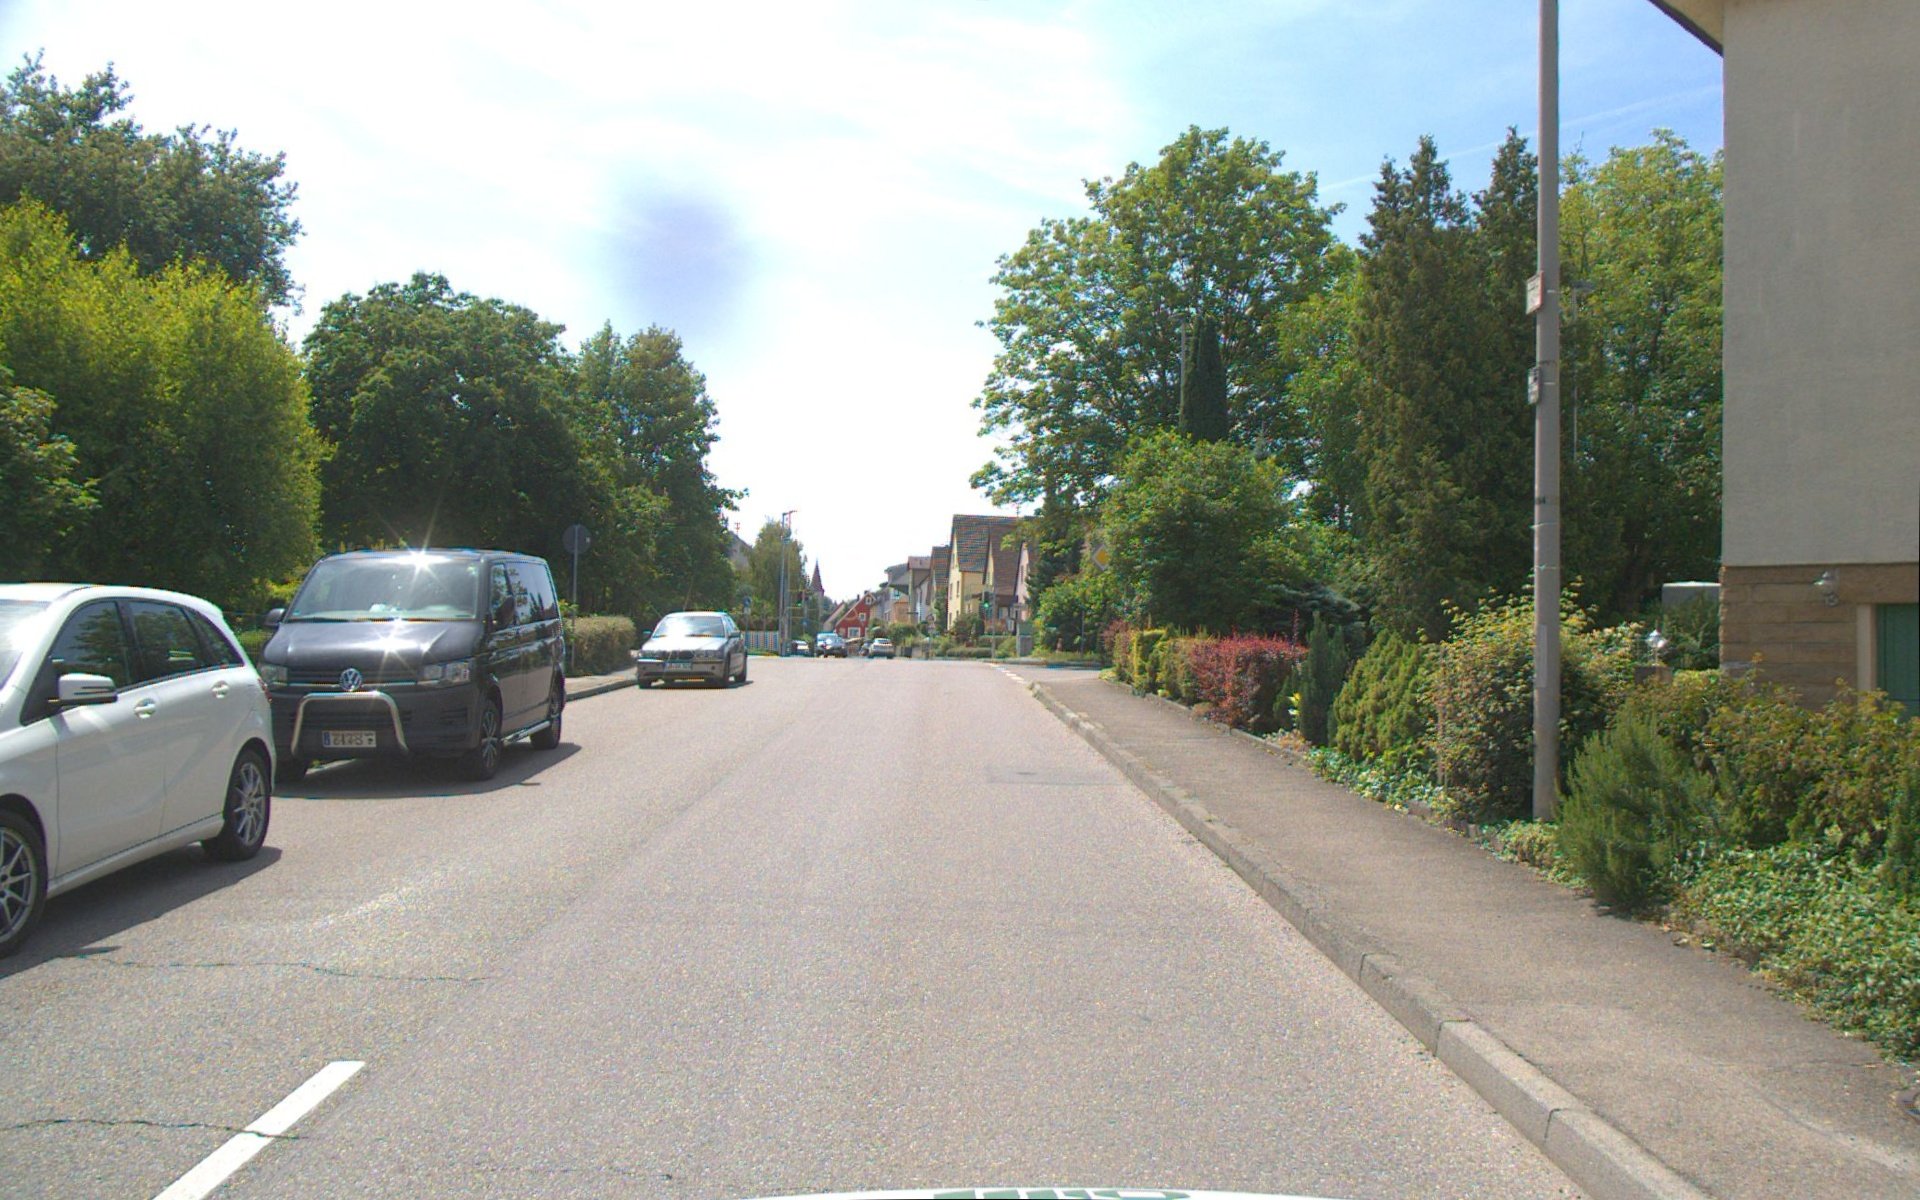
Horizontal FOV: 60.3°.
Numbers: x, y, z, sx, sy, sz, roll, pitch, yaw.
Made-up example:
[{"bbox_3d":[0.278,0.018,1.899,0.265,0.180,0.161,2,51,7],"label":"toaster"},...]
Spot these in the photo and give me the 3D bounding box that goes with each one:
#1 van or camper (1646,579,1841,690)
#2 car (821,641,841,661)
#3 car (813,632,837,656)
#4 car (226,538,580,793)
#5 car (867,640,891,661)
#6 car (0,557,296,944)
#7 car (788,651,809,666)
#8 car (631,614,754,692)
[{"bbox_3d":[16.768,0.764,35.467,1.803,2.178,3.338,6,-5,-41],"label":"van or camper"},{"bbox_3d":[-10.492,4.099,134.274,1.504,1.568,4.299,1,-1,-5],"label":"car"},{"bbox_3d":[-11.886,3.902,145.544,1.844,1.999,4.893,-1,-3,-8],"label":"car"},{"bbox_3d":[-4.882,0.509,15.286,1.859,1.954,4.867,-1,0,-3],"label":"car"},{"bbox_3d":[-6.564,4.102,134.297,1.953,1.632,3.998,0,-1,-2],"label":"car"},{"bbox_3d":[-4.855,0.603,7.956,1.775,1.577,4.240,1,0,-3],"label":"car"},{"bbox_3d":[-17.547,6.364,179.723,2.068,1.588,4.310,1,-2,-3],"label":"car"},{"bbox_3d":[-5.146,1.011,32.289,1.744,1.419,4.408,0,-1,-1],"label":"car"}]
